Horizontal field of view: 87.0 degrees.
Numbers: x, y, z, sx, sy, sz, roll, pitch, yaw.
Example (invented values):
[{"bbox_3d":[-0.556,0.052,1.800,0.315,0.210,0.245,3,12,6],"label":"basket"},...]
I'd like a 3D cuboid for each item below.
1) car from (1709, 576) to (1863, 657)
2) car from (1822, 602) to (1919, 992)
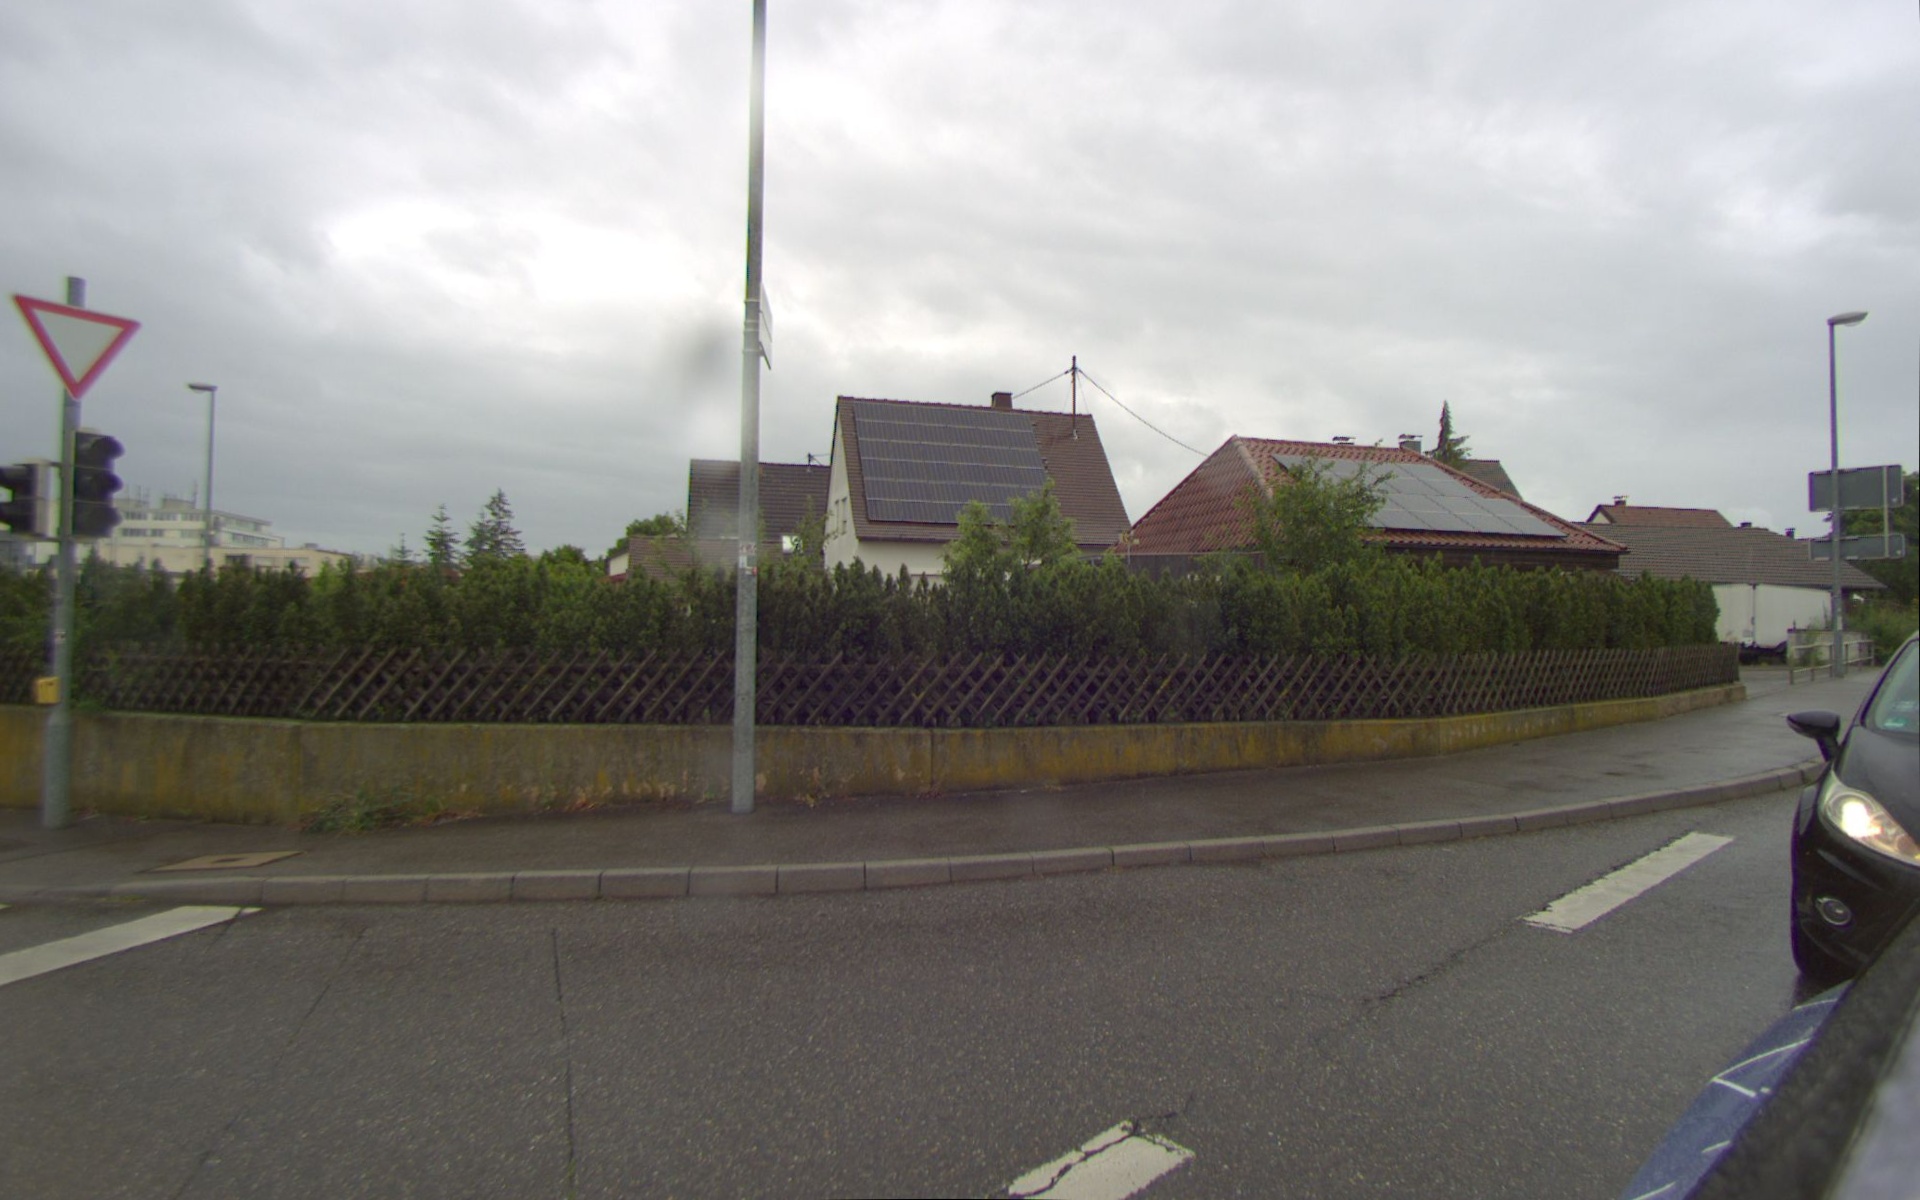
[{"bbox_3d":[25.406,0.493,31.162,3.916,2.380,1.657,0,-1,-14],"label":"car"},{"bbox_3d":[5.429,0.756,4.768,3.867,1.436,1.663,-1,0,-43],"label":"car"}]
